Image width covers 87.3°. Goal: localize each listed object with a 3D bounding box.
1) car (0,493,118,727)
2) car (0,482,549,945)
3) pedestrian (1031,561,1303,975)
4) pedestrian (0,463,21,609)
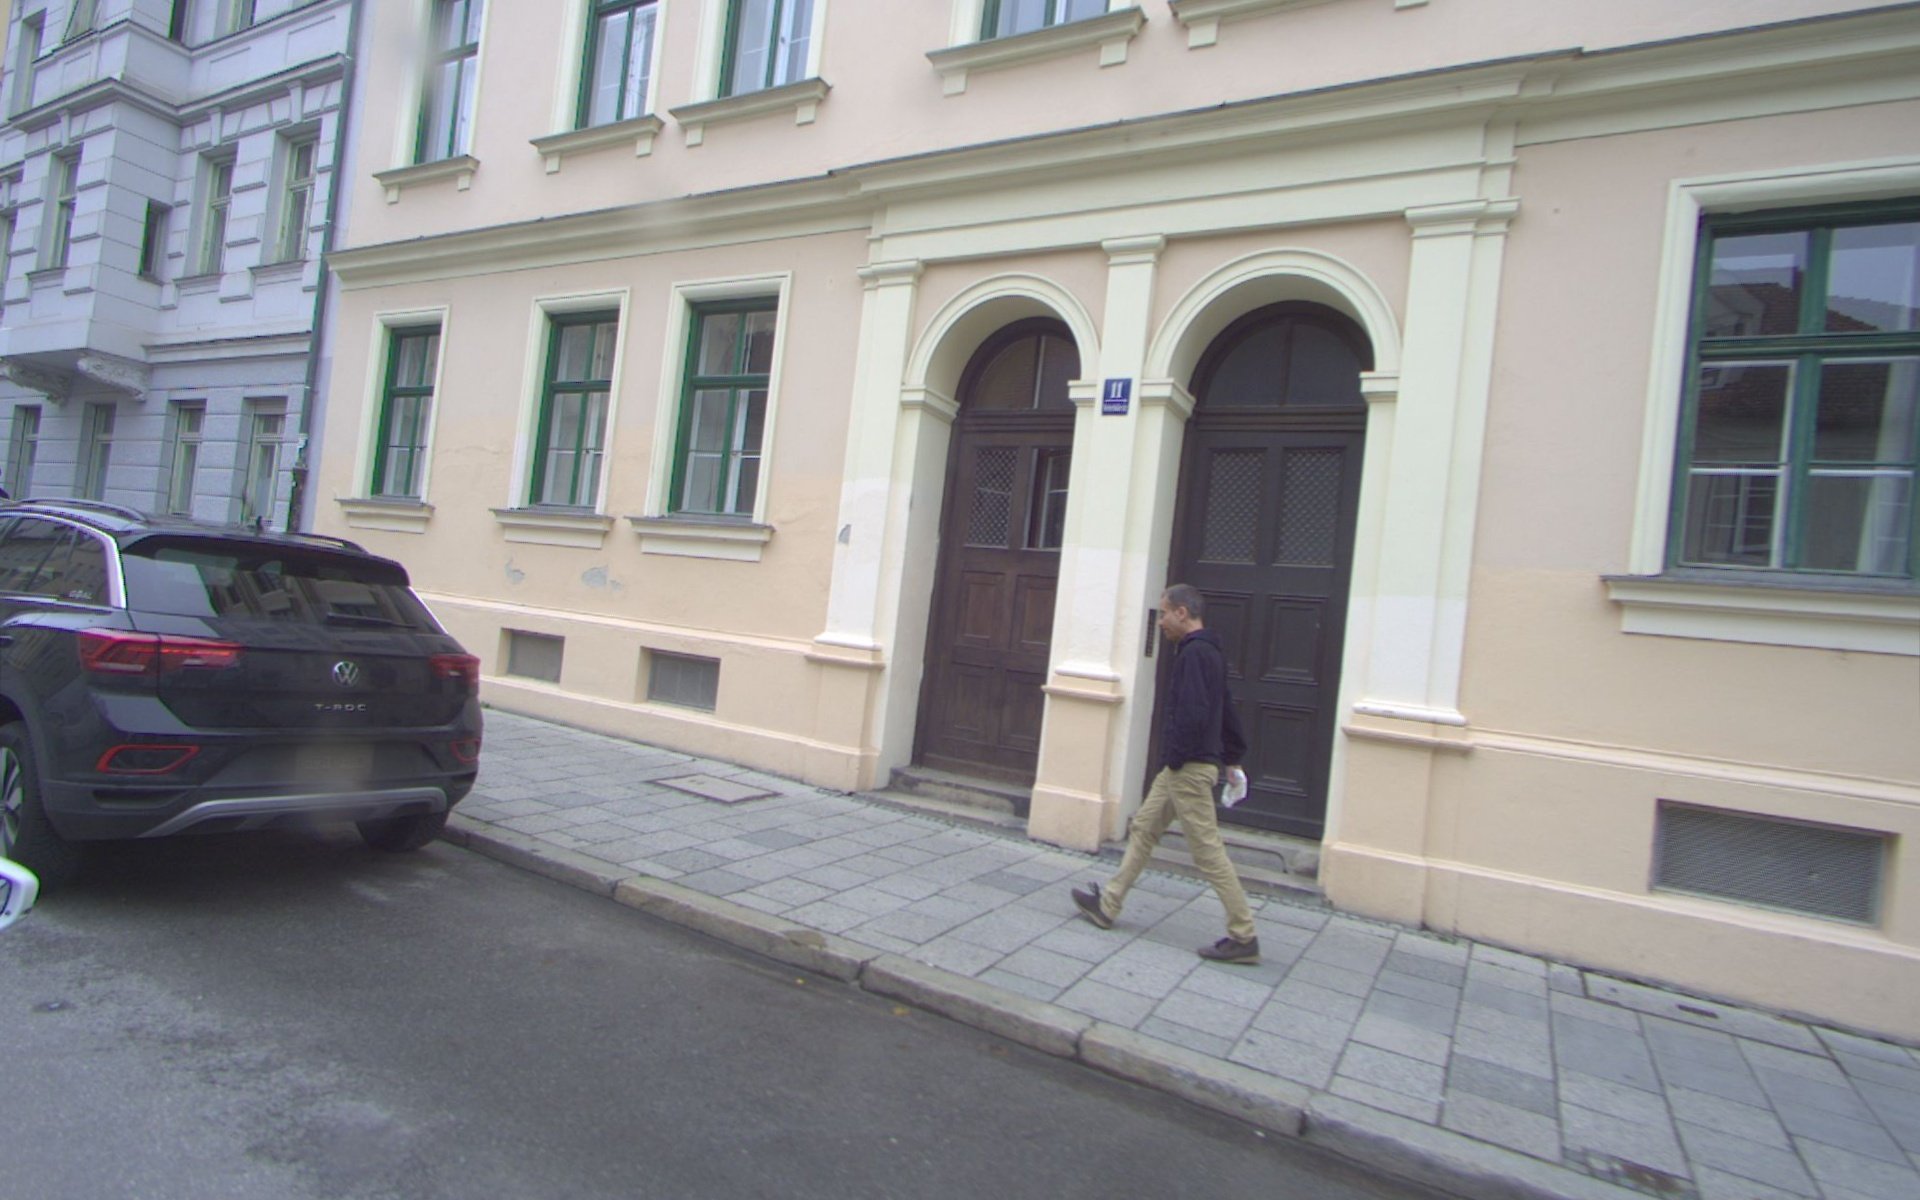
[{"bbox_3d":[-8.610,-0.145,7.737,4.391,1.602,1.747,6,-2,30],"label":"car"},{"bbox_3d":[-4.341,0.296,5.211,4.202,1.538,1.759,6,-2,30],"label":"car"},{"bbox_3d":[1.018,0.744,4.895,0.986,1.737,0.720,5,-1,28],"label":"pedestrian"},{"bbox_3d":[-13.599,-0.909,13.909,0.697,2.006,0.670,5,2,30],"label":"pedestrian"}]
